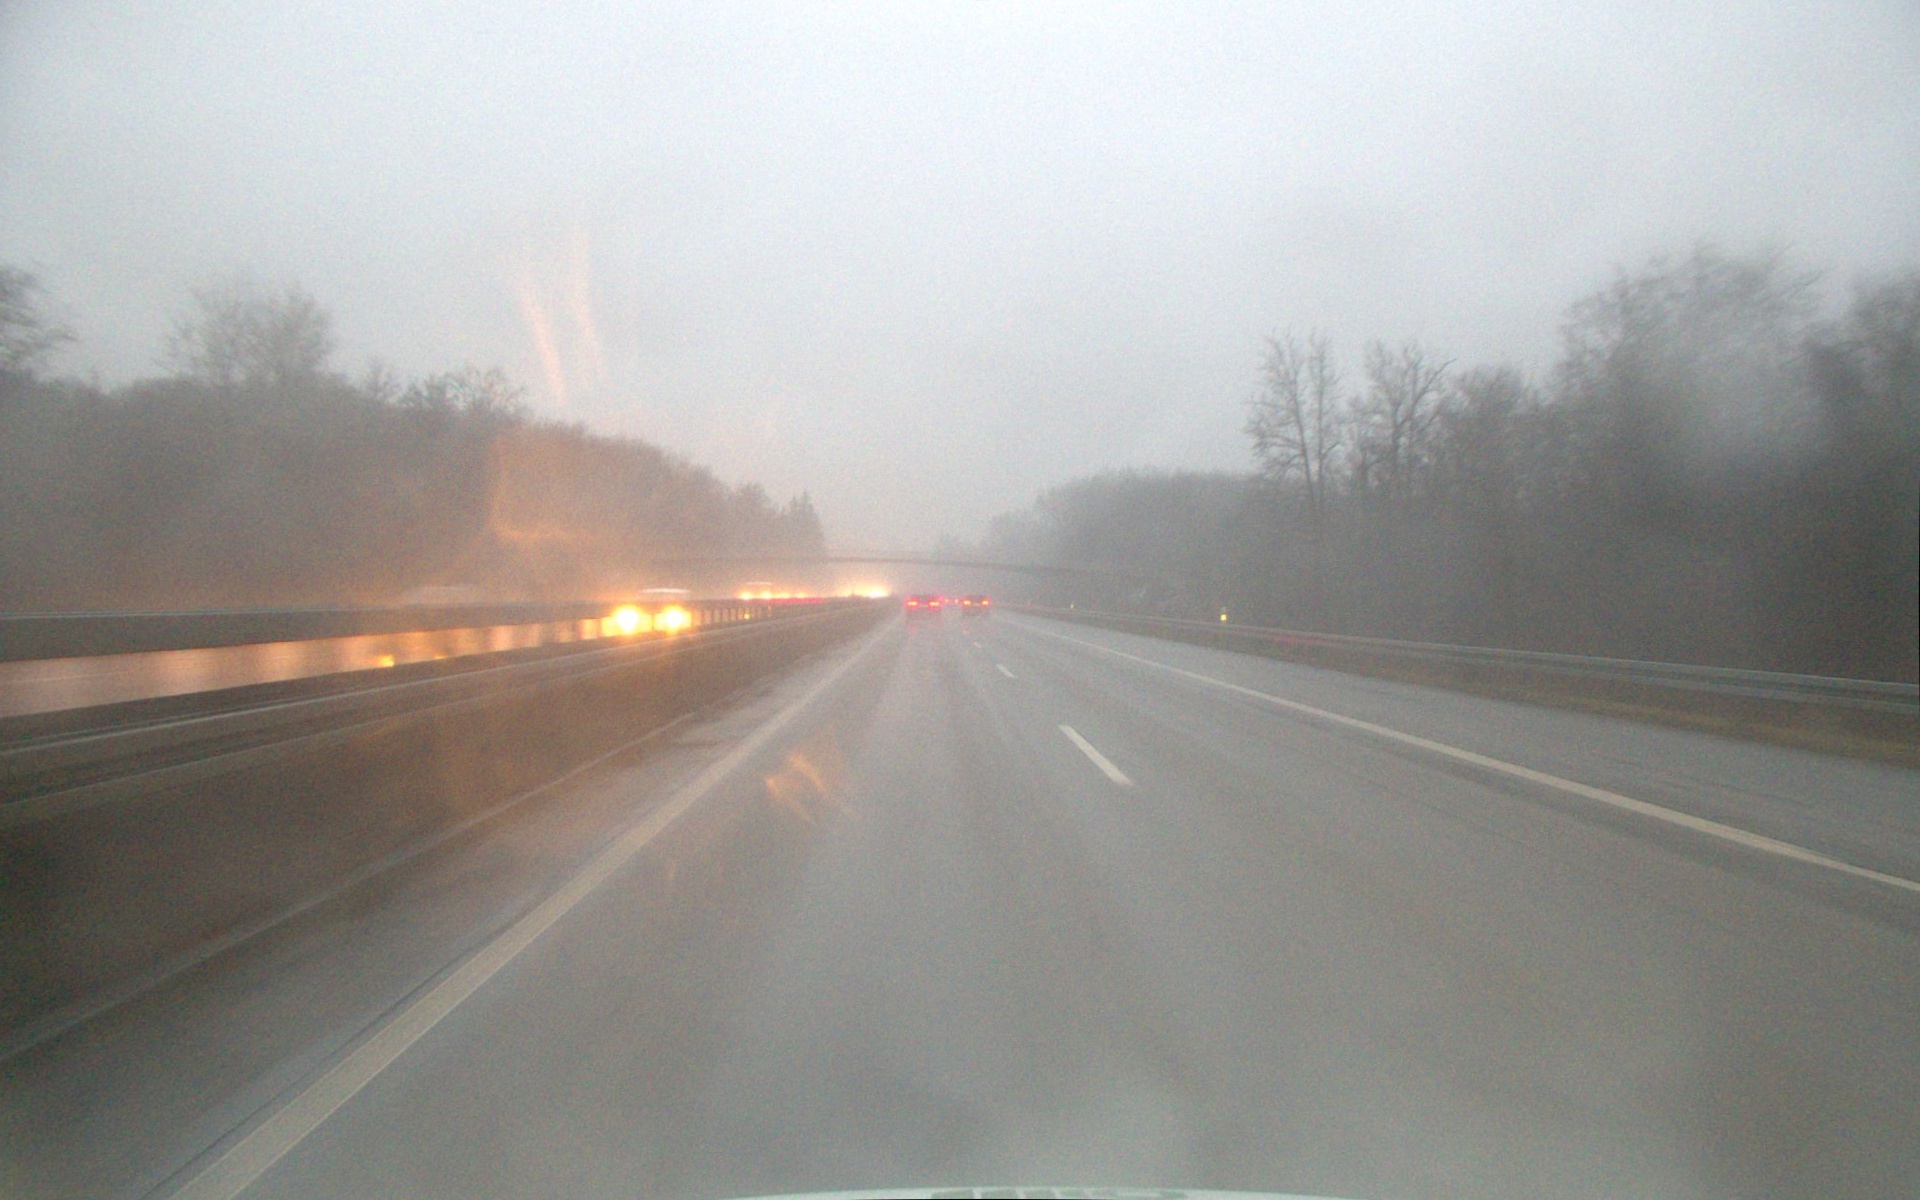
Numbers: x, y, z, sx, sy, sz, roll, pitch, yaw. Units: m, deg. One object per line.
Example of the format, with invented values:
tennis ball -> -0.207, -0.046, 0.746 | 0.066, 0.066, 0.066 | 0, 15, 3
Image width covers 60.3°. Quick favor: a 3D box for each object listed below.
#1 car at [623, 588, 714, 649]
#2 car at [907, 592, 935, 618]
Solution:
car -> -7.834, 0.482, 44.811 | 1.692, 1.486, 4.416 | 2, 0, -1
car -> -2.074, 0.270, 88.502 | 1.424, 1.367, 3.489 | 1, 0, -1
